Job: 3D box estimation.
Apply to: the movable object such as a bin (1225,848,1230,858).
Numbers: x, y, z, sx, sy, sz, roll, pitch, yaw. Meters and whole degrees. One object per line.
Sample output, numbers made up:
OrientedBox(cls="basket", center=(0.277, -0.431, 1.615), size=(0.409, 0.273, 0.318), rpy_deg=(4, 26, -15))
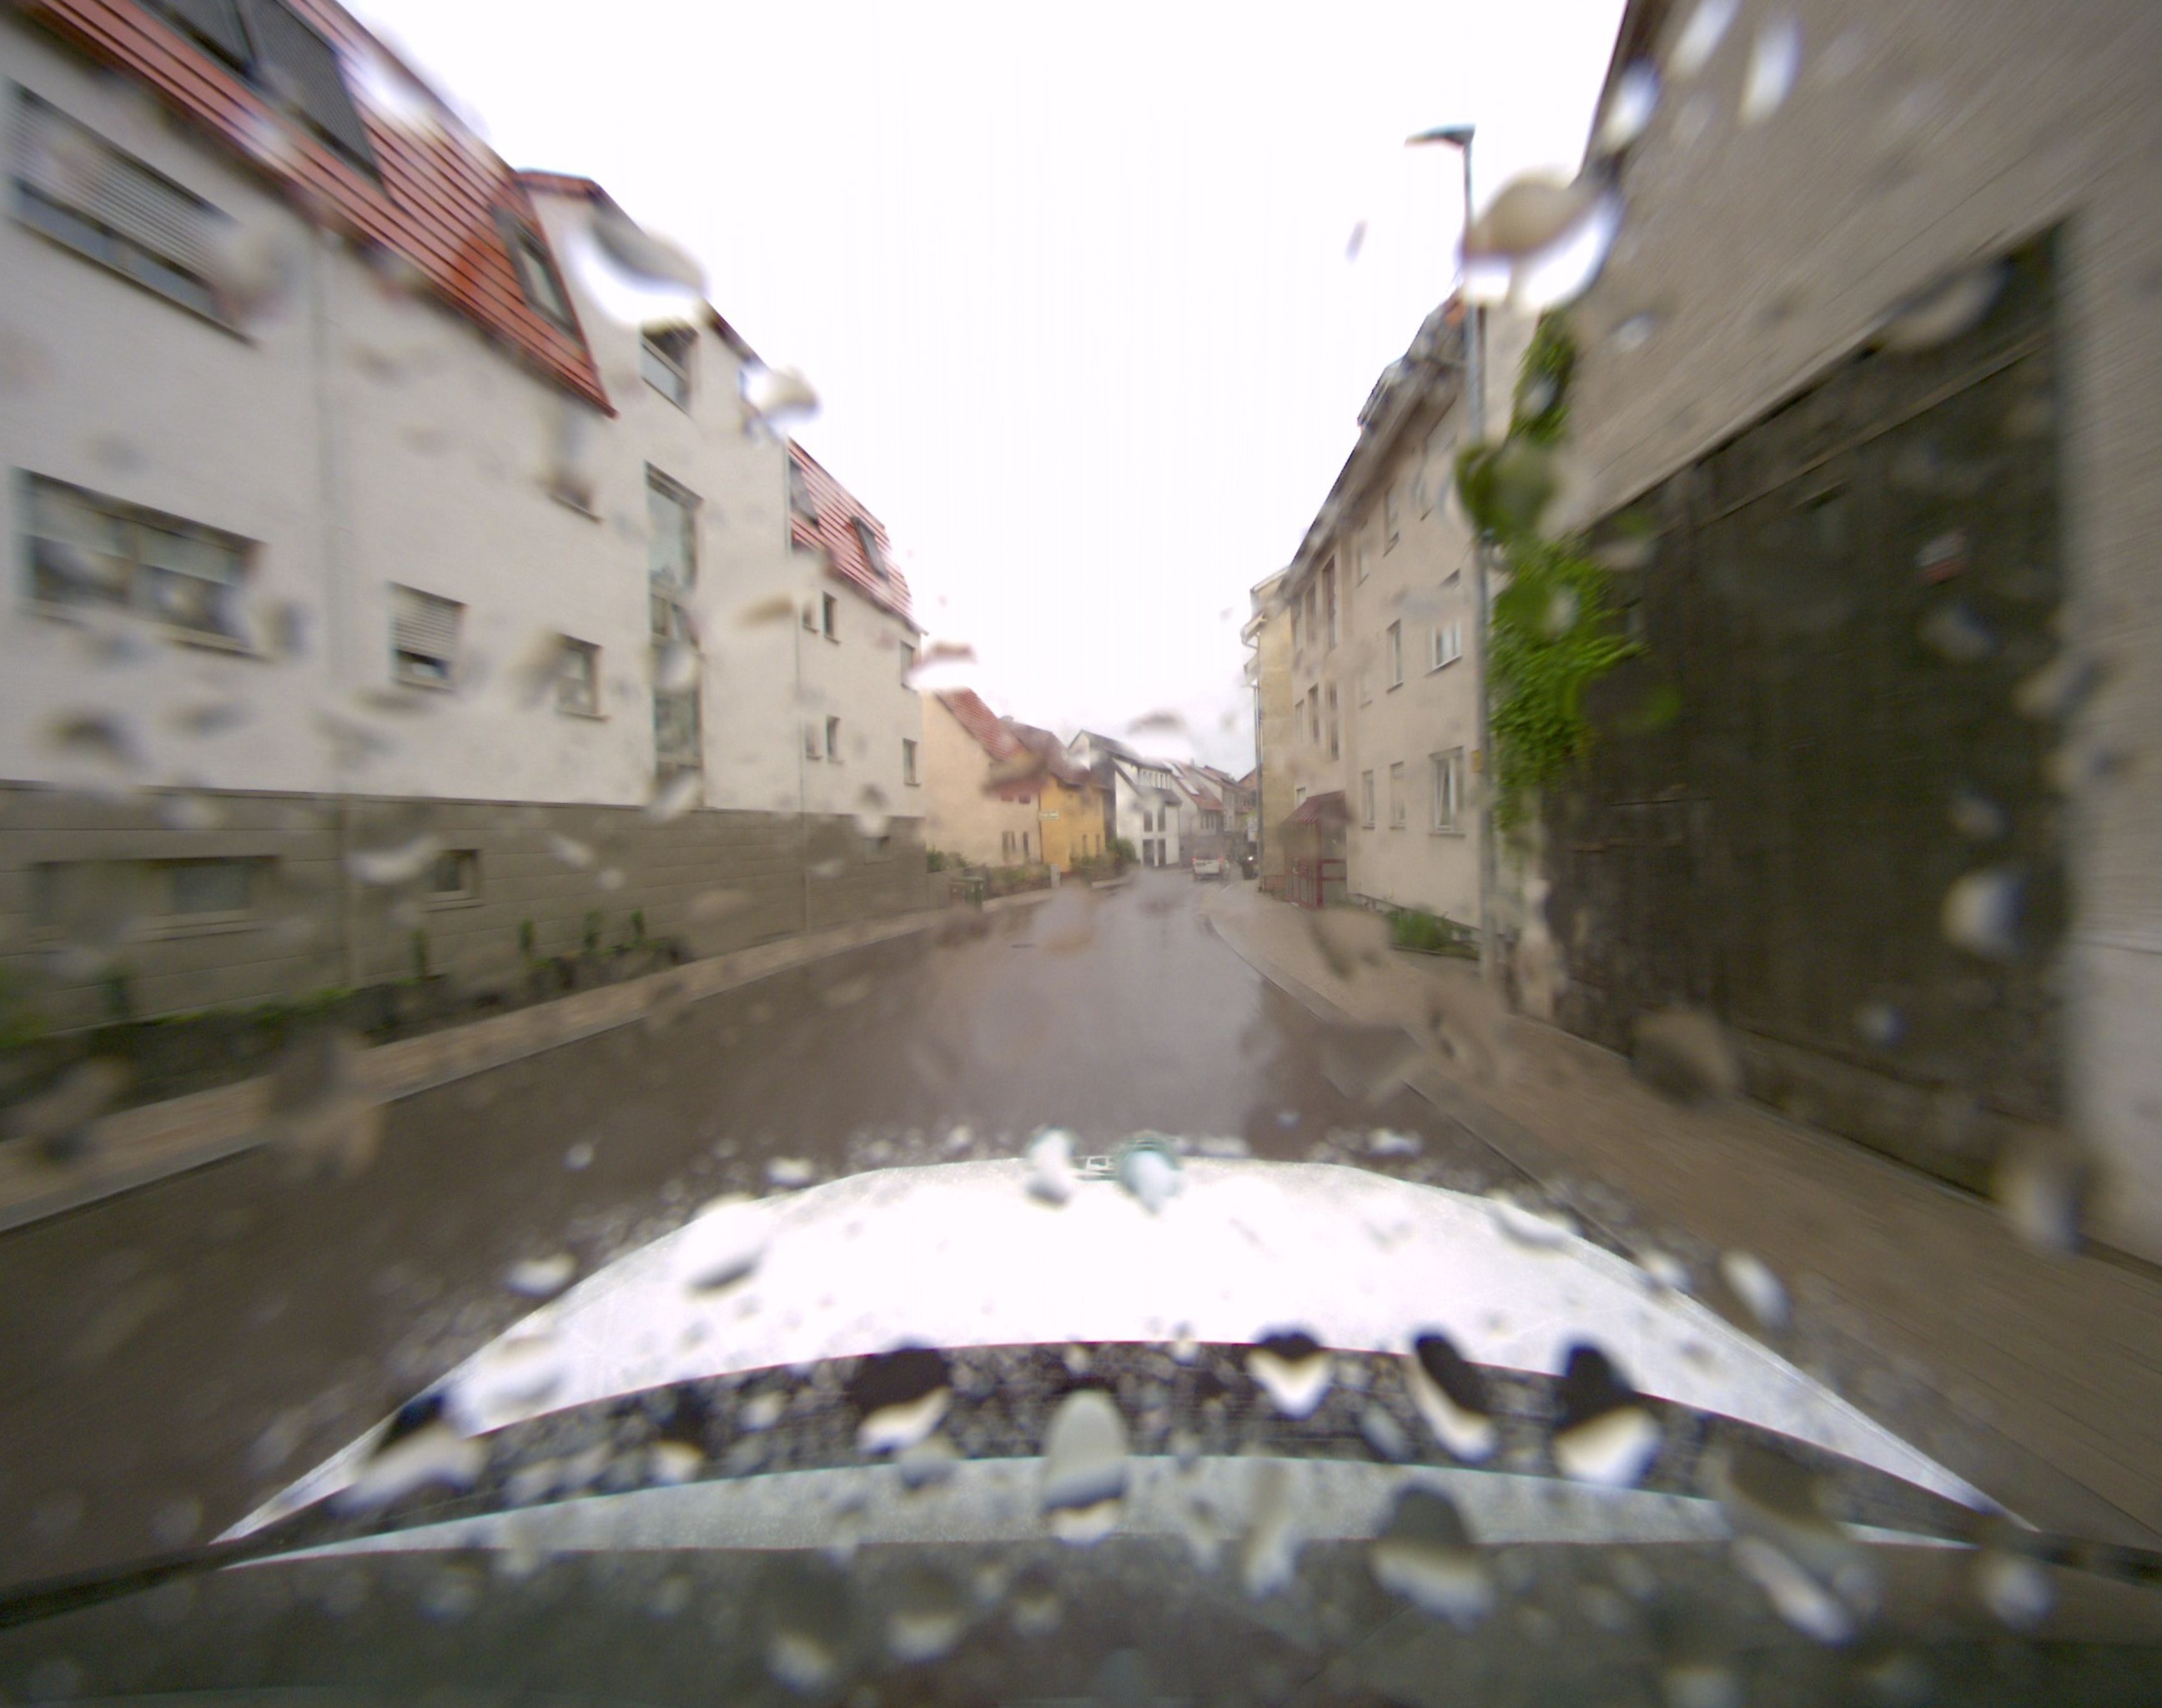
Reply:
OrientedBox(cls="movable object such as a bin", center=(16.549, -0.063, 92.026), size=(0.514, 1.122, 0.638), rpy_deg=(-1, -1, 14))

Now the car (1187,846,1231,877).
OrientedBox(cls="car", center=(8.145, 0.456, 51.525), size=(2.178, 1.851, 4.322), rpy_deg=(-2, -1, 16))

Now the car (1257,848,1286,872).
OrientedBox(cls="car", center=(13.327, 0.408, 56.968), size=(1.590, 1.484, 3.317), rpy_deg=(-4, -1, 19))

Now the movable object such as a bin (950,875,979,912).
OrientedBox(cls="movable object such as a bin", center=(-3.448, 1.161, 24.140), size=(0.677, 1.066, 0.697), rpy_deg=(0, 0, 10))

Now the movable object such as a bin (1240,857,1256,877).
OrientedBox(cls="movable object such as a bin", center=(9.828, 0.760, 47.833), size=(0.761, 1.173, 1.547), rpy_deg=(-1, -1, 16))

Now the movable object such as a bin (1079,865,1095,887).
OrientedBox(cls="movable object such as a bin", center=(0.322, 1.113, 41.412), size=(0.655, 1.056, 0.766), rpy_deg=(1, 0, 12))

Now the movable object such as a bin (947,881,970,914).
OrientedBox(cls="movable object such as a bin", center=(-3.523, 1.235, 23.452), size=(0.503, 0.922, 0.580), rpy_deg=(0, 0, 8))

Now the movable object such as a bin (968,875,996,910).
OrientedBox(cls="movable object such as a bin", center=(-3.015, 1.170, 24.916), size=(0.677, 1.045, 0.663), rpy_deg=(0, 0, 10))
